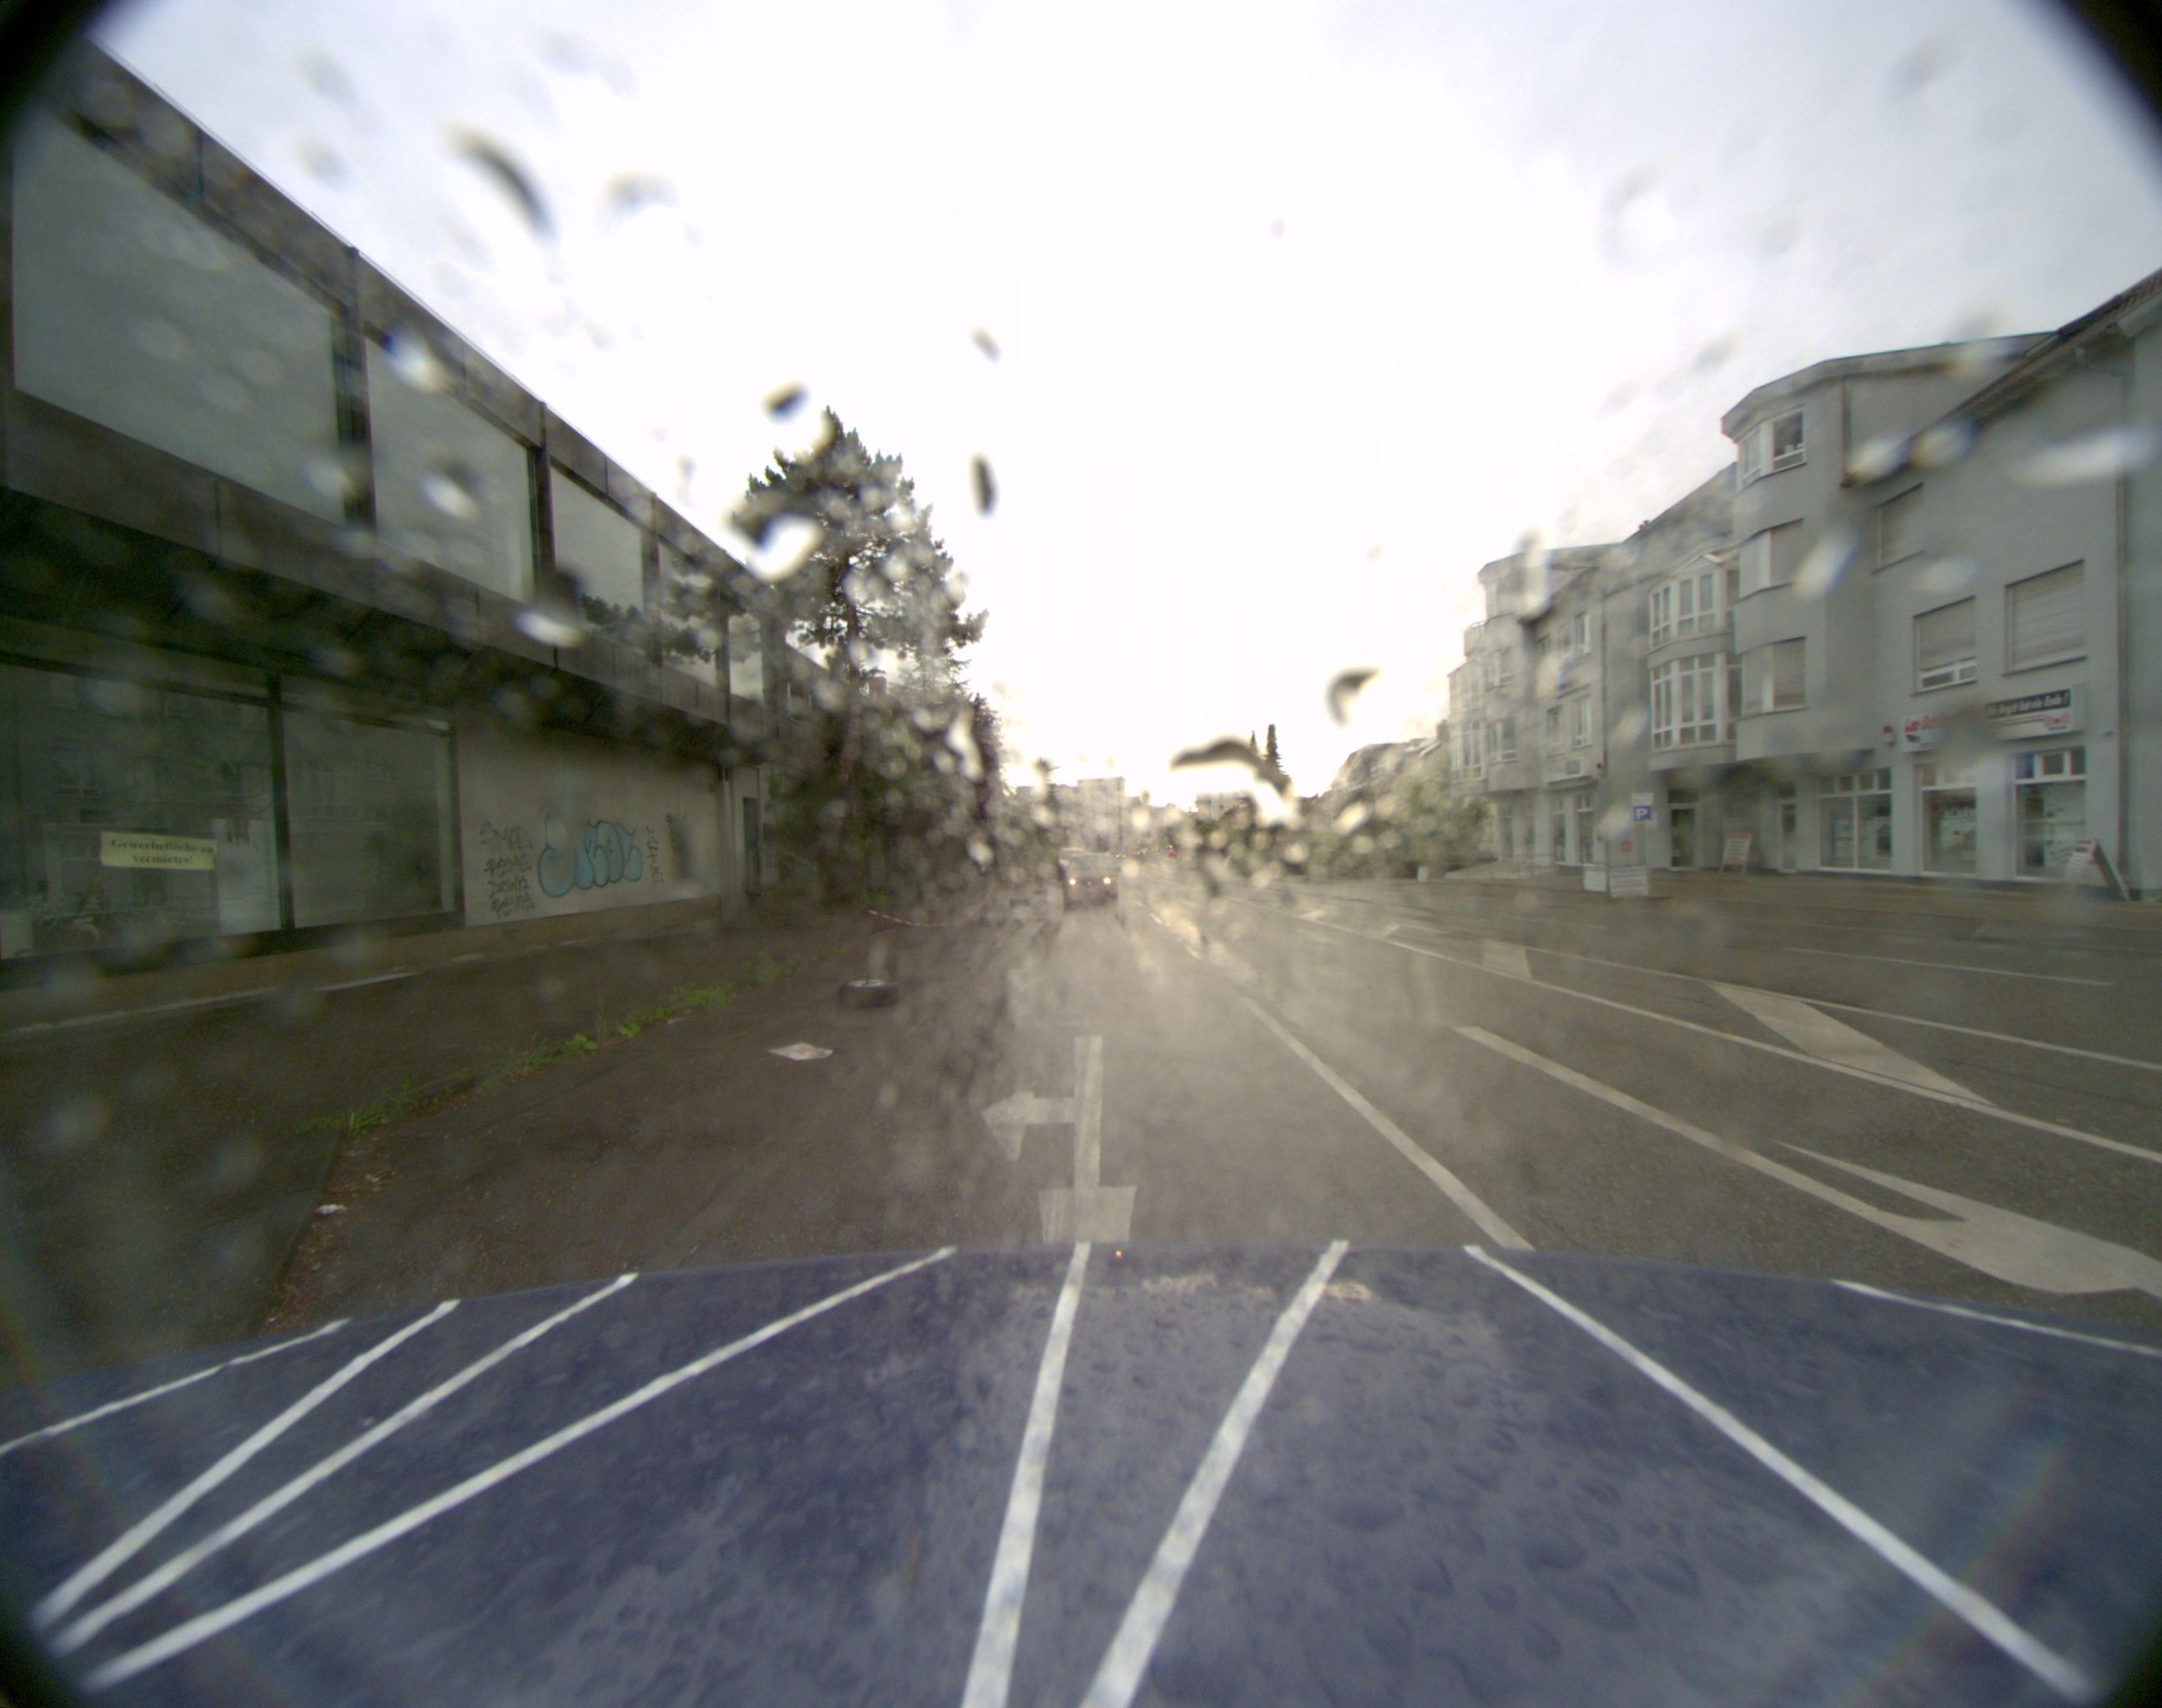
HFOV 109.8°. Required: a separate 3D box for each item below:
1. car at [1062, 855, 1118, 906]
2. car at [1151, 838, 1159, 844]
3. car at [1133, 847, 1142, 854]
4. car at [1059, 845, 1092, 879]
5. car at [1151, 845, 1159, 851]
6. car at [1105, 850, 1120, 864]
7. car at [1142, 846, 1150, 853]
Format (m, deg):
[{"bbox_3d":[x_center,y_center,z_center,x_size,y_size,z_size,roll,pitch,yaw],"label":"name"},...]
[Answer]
[{"bbox_3d":[0.319,0.857,26.697,1.754,1.534,4.676,-1,1,1],"label":"car"},{"bbox_3d":[23.472,-4.040,242.058,1.996,1.808,4.003,-2,1,14],"label":"car"},{"bbox_3d":[14.190,-0.965,192.505,1.998,1.723,3.999,-2,1,1],"label":"car"},{"bbox_3d":[-0.340,0.471,50.427,1.998,2.072,3.999,-2,1,1],"label":"car"},{"bbox_3d":[22.552,-1.849,231.132,1.997,1.808,4.002,-2,1,8],"label":"car"},{"bbox_3d":[4.178,0.408,100.917,1.803,1.675,3.999,-2,1,1],"label":"car"},{"bbox_3d":[18.049,-1.235,211.306,1.997,1.774,4.002,-2,1,8],"label":"car"}]
